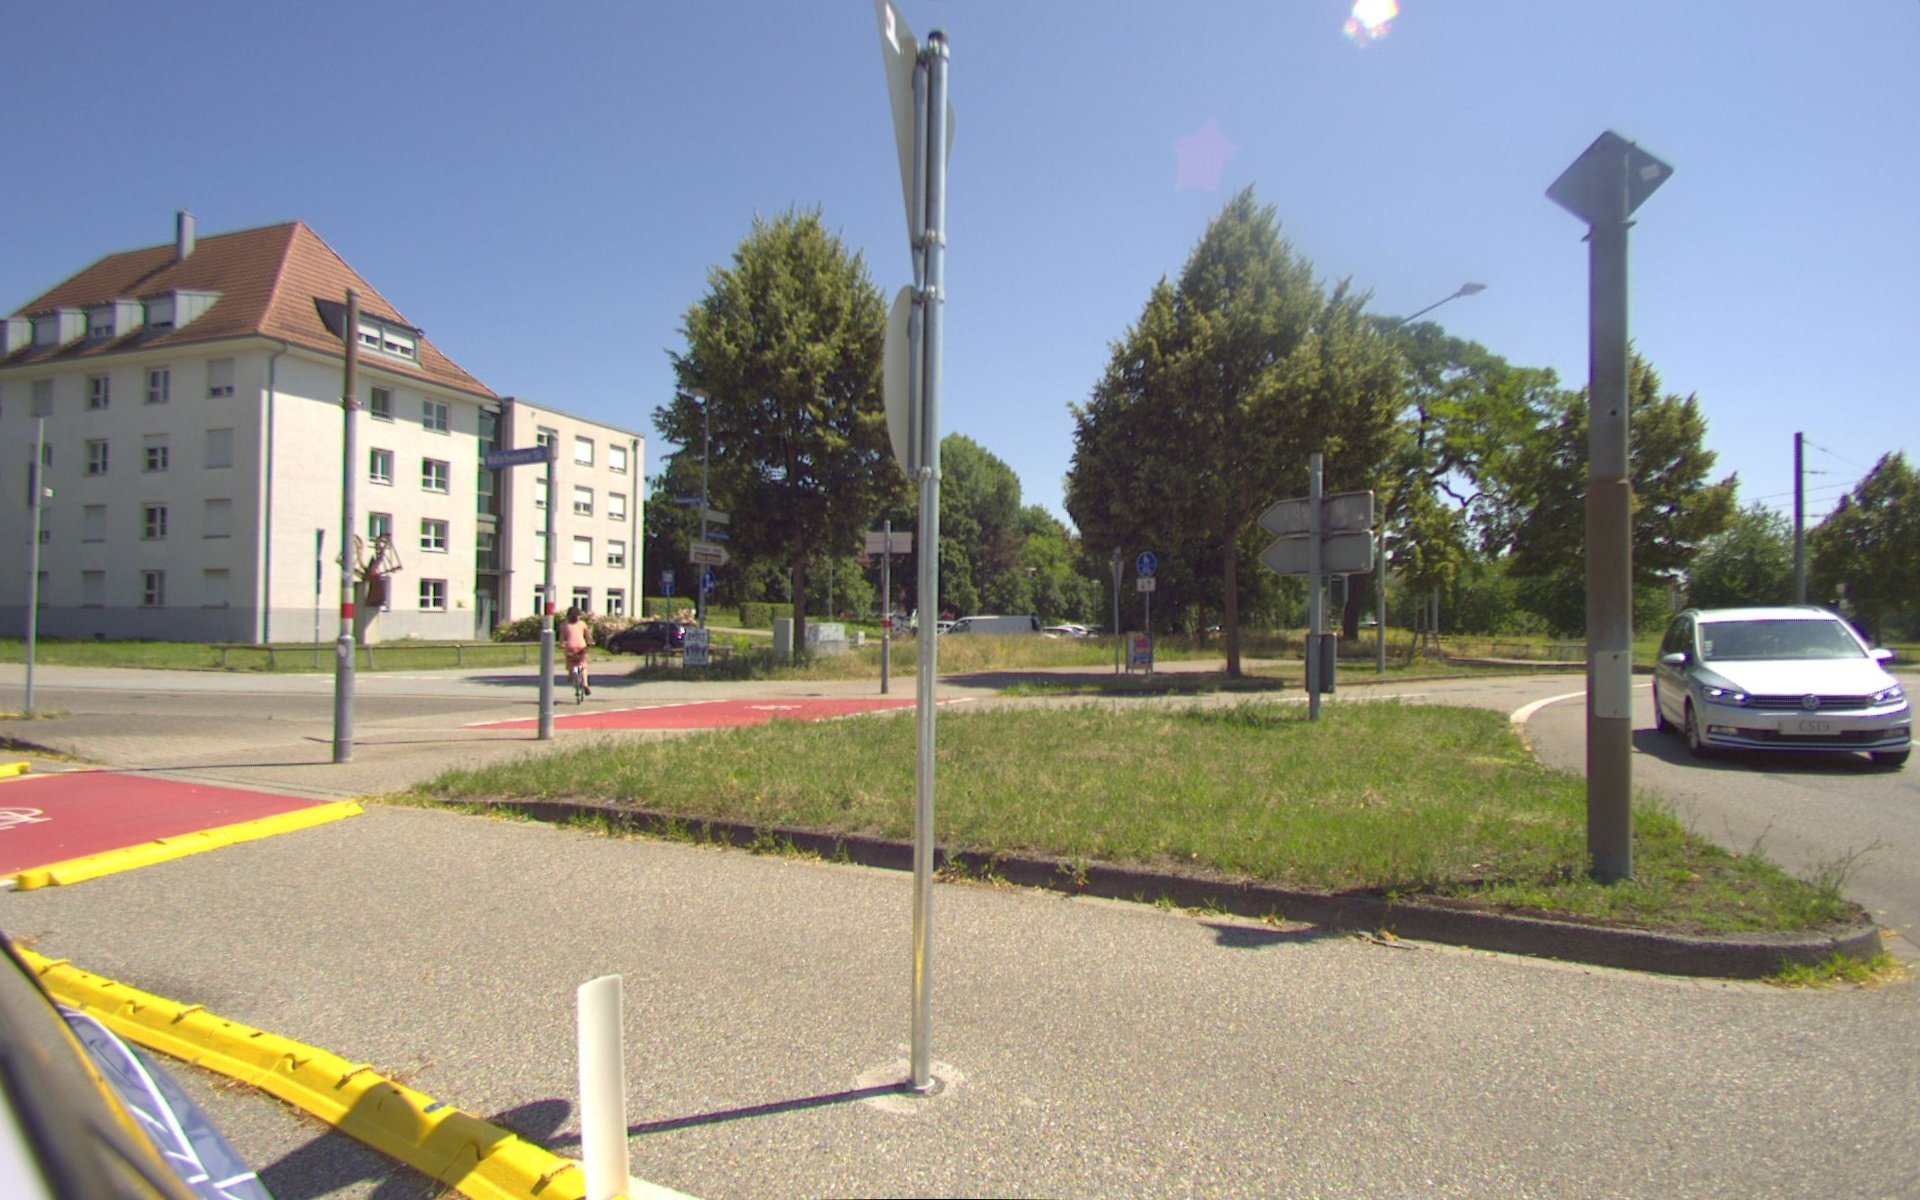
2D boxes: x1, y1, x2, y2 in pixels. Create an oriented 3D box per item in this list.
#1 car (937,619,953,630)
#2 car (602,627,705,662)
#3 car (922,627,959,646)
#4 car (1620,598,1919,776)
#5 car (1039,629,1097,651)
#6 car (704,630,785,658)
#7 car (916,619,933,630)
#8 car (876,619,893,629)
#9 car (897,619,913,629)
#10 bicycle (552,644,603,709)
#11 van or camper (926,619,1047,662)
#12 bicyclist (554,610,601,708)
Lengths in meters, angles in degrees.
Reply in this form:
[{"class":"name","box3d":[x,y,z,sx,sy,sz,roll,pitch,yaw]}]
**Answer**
[{"class":"car","box3d":[-1.993,3.328,137.155,1.465,1.427,3.013,0,-1,15]},{"class":"car","box3d":[-12.455,1.779,41.120,3.780,1.337,1.648,0,-2,21]},{"class":"car","box3d":[-1.398,2.629,73.125,2.516,1.368,1.074,0,-2,27]},{"class":"car","box3d":[9.245,0.896,11.855,1.796,1.661,4.566,-2,-2,24]},{"class":"car","box3d":[6.699,2.479,62.692,3.366,1.291,1.344,0,-2,28]},{"class":"car","box3d":[-9.951,2.027,46.697,3.488,1.227,1.347,0,-2,21]},{"class":"car","box3d":[-4.828,3.332,138.115,1.465,1.427,3.013,0,-1,15]},{"class":"car","box3d":[-10.433,3.315,139.316,1.465,1.427,3.013,0,-1,15]},{"class":"car","box3d":[-7.546,3.321,139.140,1.465,1.427,3.013,0,-1,15]},{"class":"bicycle","box3d":[-6.723,1.316,17.750,0.432,1.066,2.094,3,-4,-31]},{"class":"van or camper","box3d":[1.228,1.848,46.603,5.232,1.871,1.987,0,-2,20]},{"class":"bicyclist","box3d":[-6.707,1.027,17.719,0.635,1.677,0.712,2,-4,-31]}]
